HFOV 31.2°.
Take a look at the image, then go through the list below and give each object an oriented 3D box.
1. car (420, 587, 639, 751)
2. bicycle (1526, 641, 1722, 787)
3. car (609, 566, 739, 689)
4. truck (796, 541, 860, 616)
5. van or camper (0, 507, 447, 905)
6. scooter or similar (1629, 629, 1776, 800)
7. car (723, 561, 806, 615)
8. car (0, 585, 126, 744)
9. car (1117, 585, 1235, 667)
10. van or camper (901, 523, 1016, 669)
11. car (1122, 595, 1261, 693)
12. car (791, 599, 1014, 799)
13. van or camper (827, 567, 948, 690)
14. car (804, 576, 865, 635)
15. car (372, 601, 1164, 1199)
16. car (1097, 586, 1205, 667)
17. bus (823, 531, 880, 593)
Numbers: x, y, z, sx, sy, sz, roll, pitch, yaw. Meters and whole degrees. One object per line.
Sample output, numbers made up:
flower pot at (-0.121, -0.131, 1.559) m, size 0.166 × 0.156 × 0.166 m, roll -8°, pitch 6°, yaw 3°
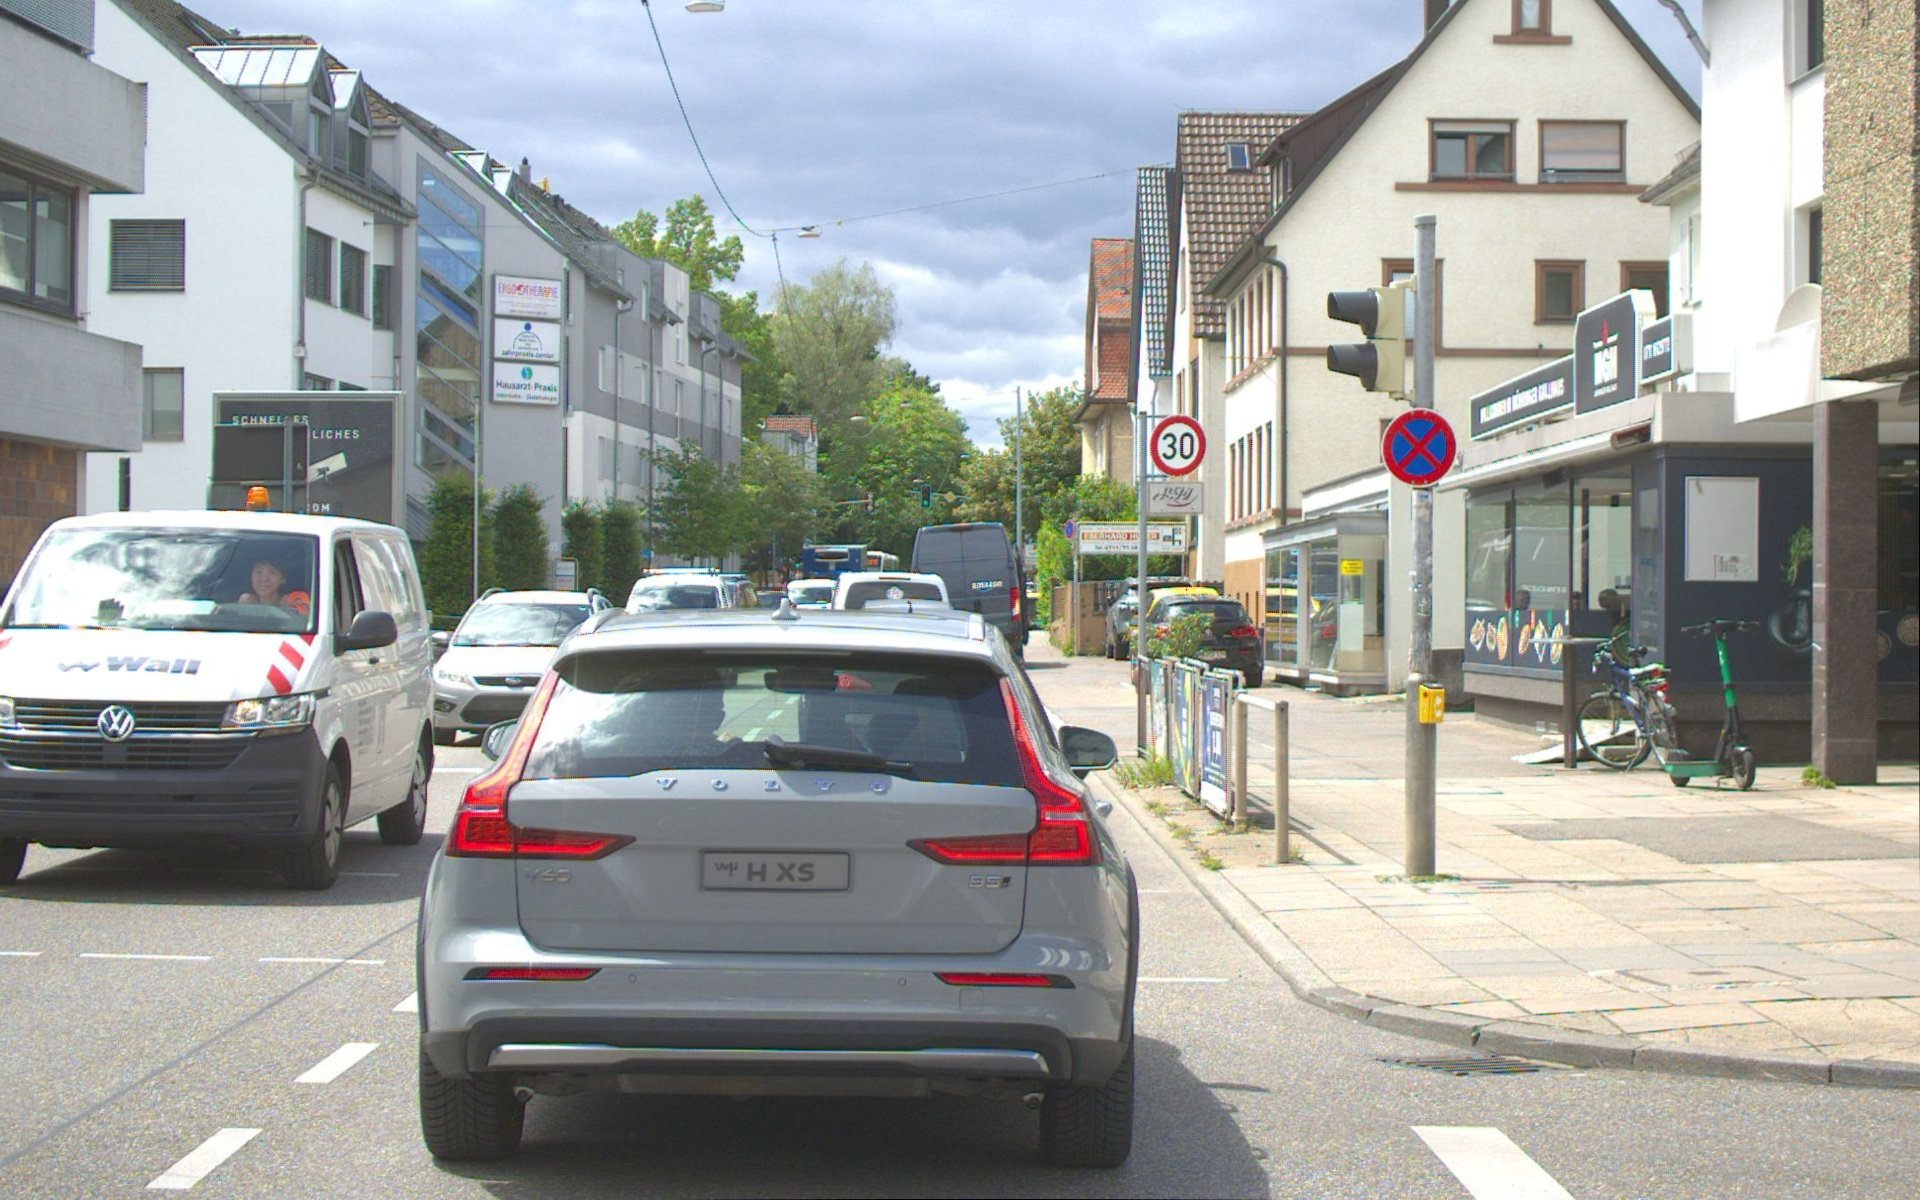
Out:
car at (-4.304, 0.650, 34.868) m, size 1.668 × 1.548 × 4.215 m, roll 1°, pitch 0°, yaw 0°
bicycle at (5.549, 0.933, 28.895) m, size 0.554 × 1.140 × 2.301 m, roll 0°, pitch 0°, yaw -18°
car at (-4.663, 0.437, 56.534) m, size 1.838 × 1.911 × 4.156 m, roll 1°, pitch 0°, yaw -1°
truck at (-5.202, -0.860, 136.192) m, size 2.276 × 2.877 × 7.079 m, roll 0°, pitch 0°, yaw 0°
van or camper at (-4.068, 0.465, 18.836) m, size 1.864 × 1.891 × 4.692 m, roll 1°, pitch 1°, yaw -1°
scooter or similar at (5.590, 0.853, 25.932) m, size 0.340 × 1.249 × 1.246 m, roll -2°, pitch 0°, yaw -26°
car at (-5.269, -0.333, 93.048) m, size 1.762 × 1.421 × 4.000 m, roll 0°, pitch 1°, yaw 4°
car at (-9.967, 0.644, 36.177) m, size 1.607 × 1.538 × 2.944 m, roll 2°, pitch 0°, yaw 0°
car at (3.909, 0.497, 62.854) m, size 1.883 × 1.411 × 3.971 m, roll 1°, pitch -1°, yaw 0°
van or camper at (-0.027, -0.084, 65.615) m, size 2.123 × 2.677 × 4.781 m, roll 0°, pitch 0°, yaw 0°
car at (3.594, 0.708, 53.947) m, size 1.710 × 1.459 × 4.000 m, roll 1°, pitch -1°, yaw -3°
car at (-0.472, 0.752, 27.768) m, size 1.650 × 1.477 × 3.607 m, roll 1°, pitch 0°, yaw -1°
van or camper at (-1.141, 0.484, 54.023) m, size 1.819 × 1.829 × 4.000 m, roll 1°, pitch -2°, yaw -1°
car at (-4.059, 0.202, 111.518) m, size 1.797 × 1.810 × 4.000 m, roll 1°, pitch -1°, yaw 0°
car at (-0.493, 0.754, 10.036) m, size 1.836 × 1.481 × 4.000 m, roll 1°, pitch 0°, yaw -1°
car at (3.714, 0.545, 67.538) m, size 1.883 × 1.495 × 3.971 m, roll 1°, pitch -1°, yaw 0°
bus at (-4.797, -1.705, 153.343) m, size 2.276 × 2.659 × 7.429 m, roll 0°, pitch 1°, yaw 0°
